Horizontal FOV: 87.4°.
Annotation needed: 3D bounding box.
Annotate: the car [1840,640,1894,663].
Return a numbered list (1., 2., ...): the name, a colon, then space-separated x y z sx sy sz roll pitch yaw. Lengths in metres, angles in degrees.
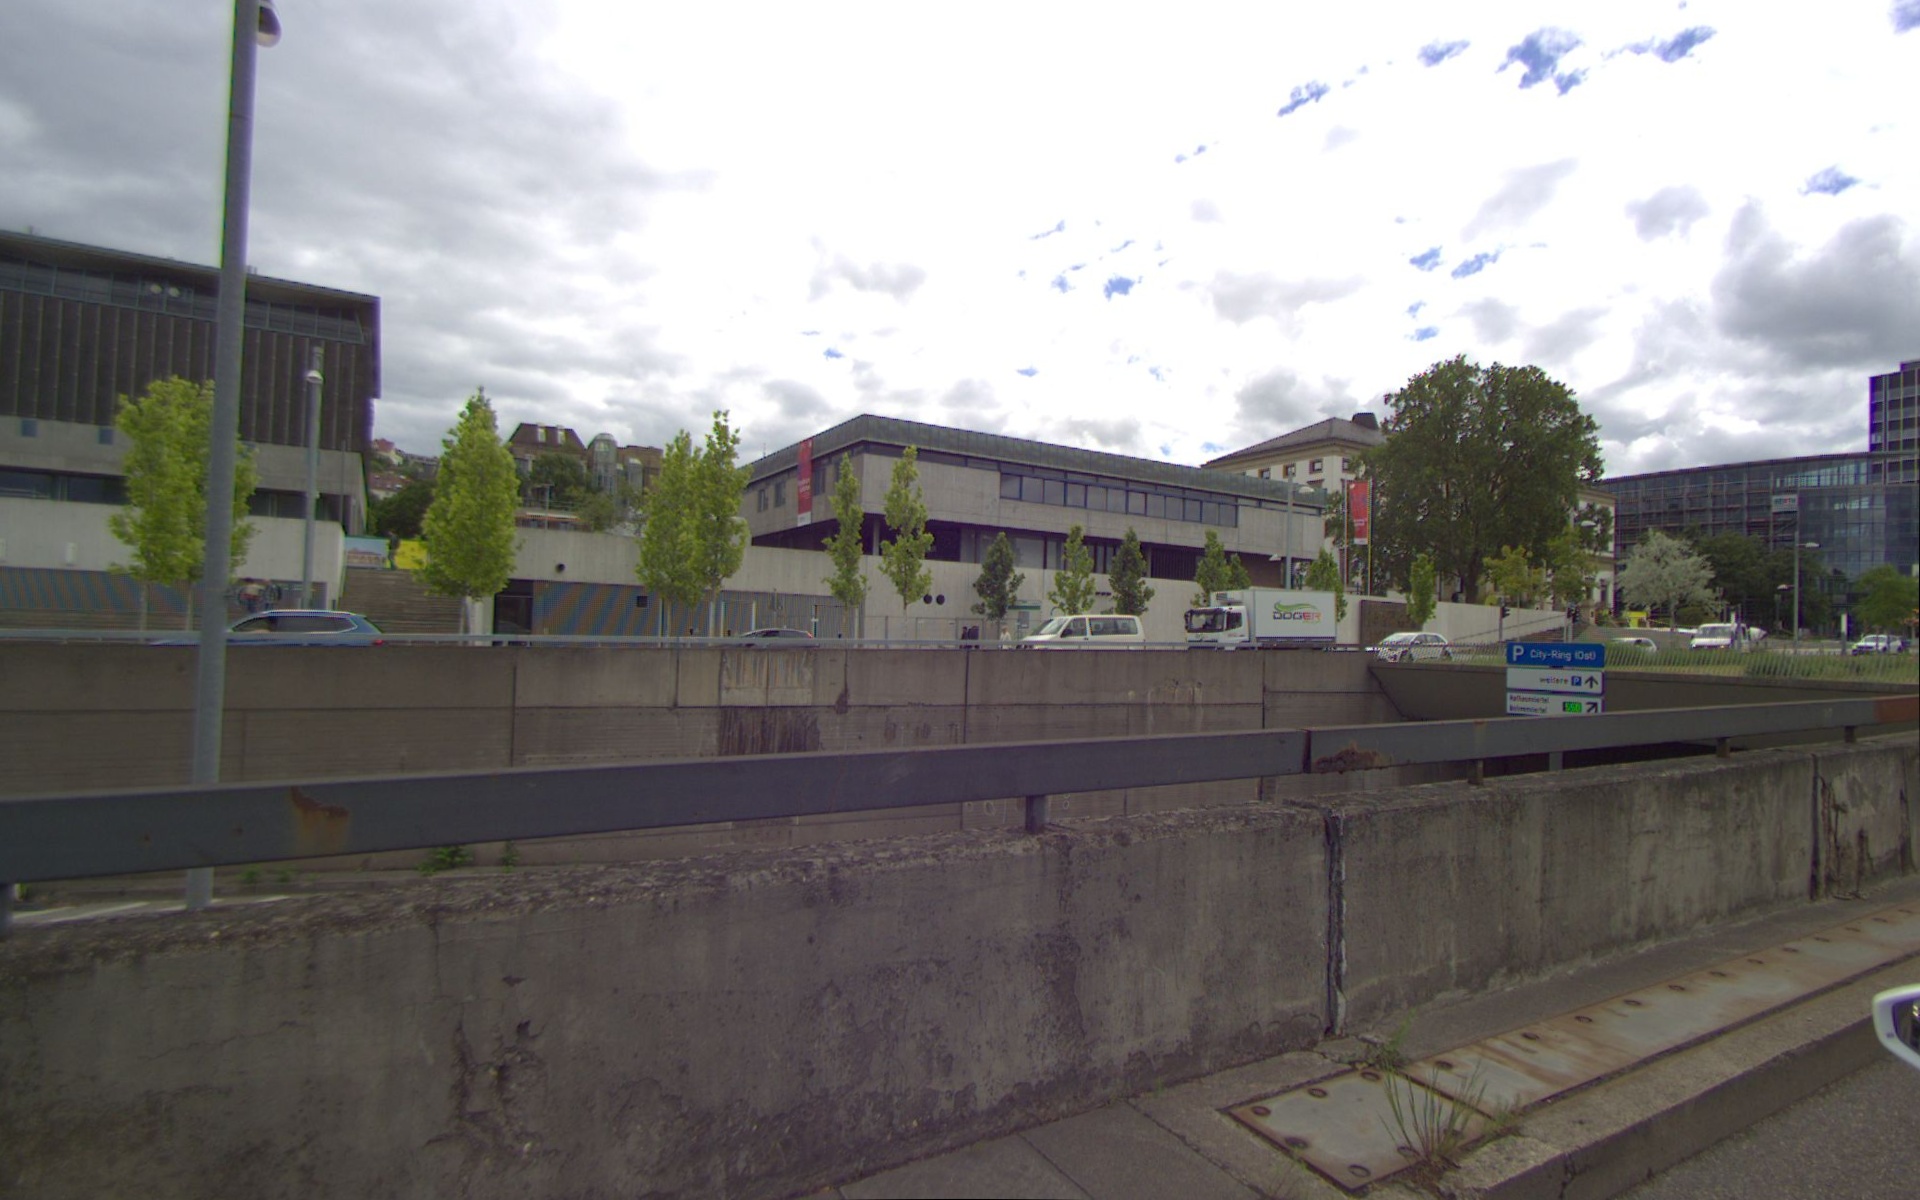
1. car: 69.002 3.884 76.407 4.556 1.595 1.711 1 0 -29

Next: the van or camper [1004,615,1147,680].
1. van or camper: 3.899 1.544 33.811 4.503 2.040 1.984 1 0 -30

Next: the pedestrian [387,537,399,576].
1. pedestrian: -27.802 -2.129 49.244 0.457 1.891 0.377 2 0 -36

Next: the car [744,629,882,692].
1. car: -4.739 1.895 32.453 3.953 1.840 1.984 1 0 -30

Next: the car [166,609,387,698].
1. car: -15.263 1.152 22.730 3.953 1.840 1.984 1 0 -30

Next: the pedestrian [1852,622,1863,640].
1. pedestrian: 83.688 2.885 93.655 0.643 1.671 0.521 2 0 -31

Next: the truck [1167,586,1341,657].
1. truck: 12.780 0.916 43.519 7.166 2.825 3.216 1 0 -30

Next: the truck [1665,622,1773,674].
1. truck: 44.126 2.735 58.350 6.991 2.854 2.453 1 0 -29

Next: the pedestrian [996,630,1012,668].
1. pedestrian: 1.826 2.044 41.849 0.457 1.542 0.424 2 0 -36

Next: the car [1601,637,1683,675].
1. car: 36.171 2.920 53.280 4.208 1.840 1.984 1 0 -30

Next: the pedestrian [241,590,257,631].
1. pedestrian: -27.178 0.392 38.407 0.457 1.542 0.377 2 0 -36

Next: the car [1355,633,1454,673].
1. car: 18.996 2.224 42.889 4.218 1.595 1.711 1 0 -29

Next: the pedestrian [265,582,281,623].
1. pedestrian: -26.227 0.102 38.365 0.457 1.542 0.377 2 0 -36
